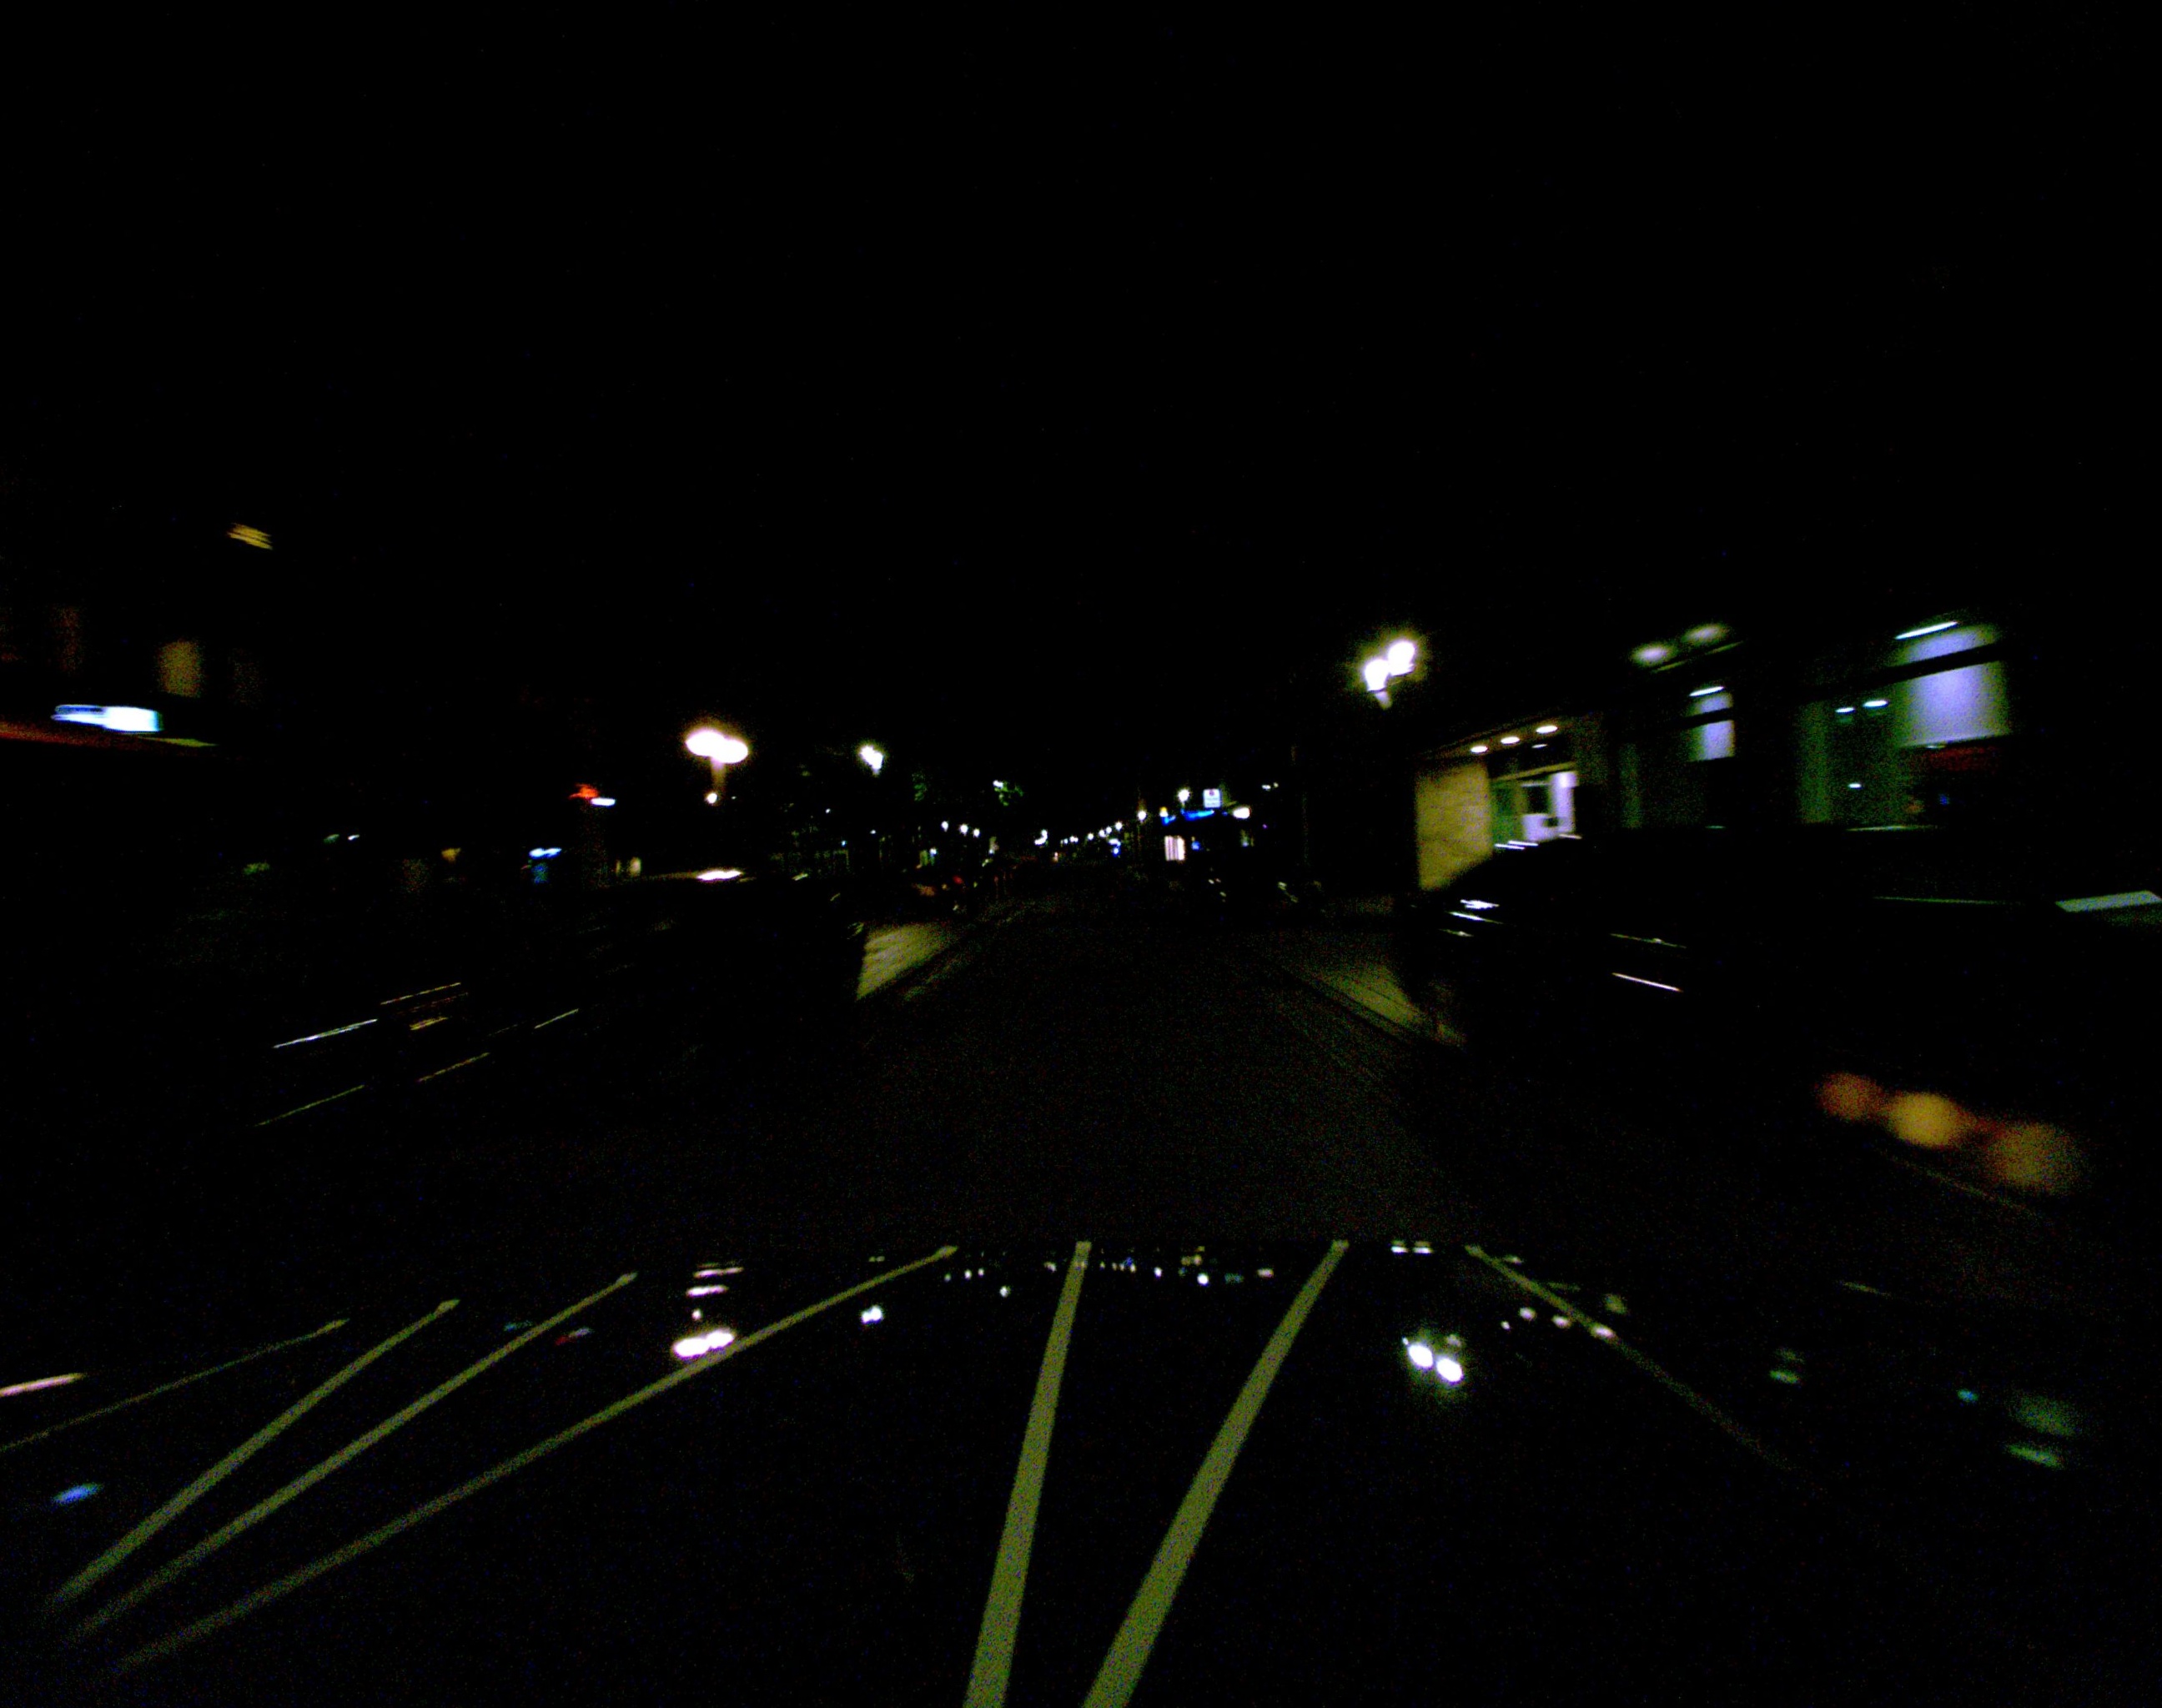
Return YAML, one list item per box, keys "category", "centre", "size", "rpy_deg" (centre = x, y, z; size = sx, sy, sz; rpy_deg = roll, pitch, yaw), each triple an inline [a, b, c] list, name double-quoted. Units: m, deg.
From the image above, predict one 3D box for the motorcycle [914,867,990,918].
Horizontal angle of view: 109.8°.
- category: "motorcycle"
  centre: [-3.422, 0.996, 20.028]
  size: [2.165, 1.290, 0.516]
  rpy_deg: [-1, 1, 34]

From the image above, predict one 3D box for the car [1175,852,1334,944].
- category: "car"
  centre: [3.239, 0.753, 15.188]
  size: [1.905, 1.462, 4.524]
  rpy_deg: [-3, 0, -2]

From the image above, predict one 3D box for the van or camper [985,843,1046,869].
- category: "van or camper"
  centre: [-6.984, 0.235, 81.627]
  size: [6.061, 2.518, 2.158]
  rpy_deg: [-2, 0, -31]

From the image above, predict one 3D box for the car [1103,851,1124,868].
- category: "car"
  centre: [3.160, 0.544, 74.067]
  size: [1.655, 1.417, 4.014]
  rpy_deg: [-5, 0, -2]

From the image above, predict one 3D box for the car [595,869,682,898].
- category: "car"
  centre: [-26.166, 1.728, 45.059]
  size: [3.997, 1.580, 1.901]
  rpy_deg: [-1, -1, -1]

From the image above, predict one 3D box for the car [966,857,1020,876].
- category: "car"
  centre: [-7.788, 1.124, 67.433]
  size: [4.555, 1.447, 1.633]
  rpy_deg: [-2, 0, -36]

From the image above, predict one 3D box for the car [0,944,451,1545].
- category: "car"
  centre: [-3.624, 1.081, 1.205]
  size: [1.665, 1.369, 4.104]
  rpy_deg: [0, 0, 3]

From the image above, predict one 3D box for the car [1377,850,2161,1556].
- category: "car"
  centre: [3.215, 0.772, 3.287]
  size: [1.850, 1.455, 4.622]
  rpy_deg: [-4, 0, -2]

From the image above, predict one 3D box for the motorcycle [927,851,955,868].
- category: "motorcycle"
  centre: [-11.465, 0.444, 62.234]
  size: [2.226, 1.263, 0.531]
  rpy_deg: [-2, 0, -43]

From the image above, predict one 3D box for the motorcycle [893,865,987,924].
- category: "motorcycle"
  centre: [-3.498, 0.981, 18.792]
  size: [2.266, 1.383, 0.662]
  rpy_deg: [-1, 1, 25]

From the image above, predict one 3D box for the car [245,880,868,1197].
- category: "car"
  centre: [-3.354, 1.027, 6.161]
  size: [1.757, 1.455, 4.467]
  rpy_deg: [0, 0, 3]
